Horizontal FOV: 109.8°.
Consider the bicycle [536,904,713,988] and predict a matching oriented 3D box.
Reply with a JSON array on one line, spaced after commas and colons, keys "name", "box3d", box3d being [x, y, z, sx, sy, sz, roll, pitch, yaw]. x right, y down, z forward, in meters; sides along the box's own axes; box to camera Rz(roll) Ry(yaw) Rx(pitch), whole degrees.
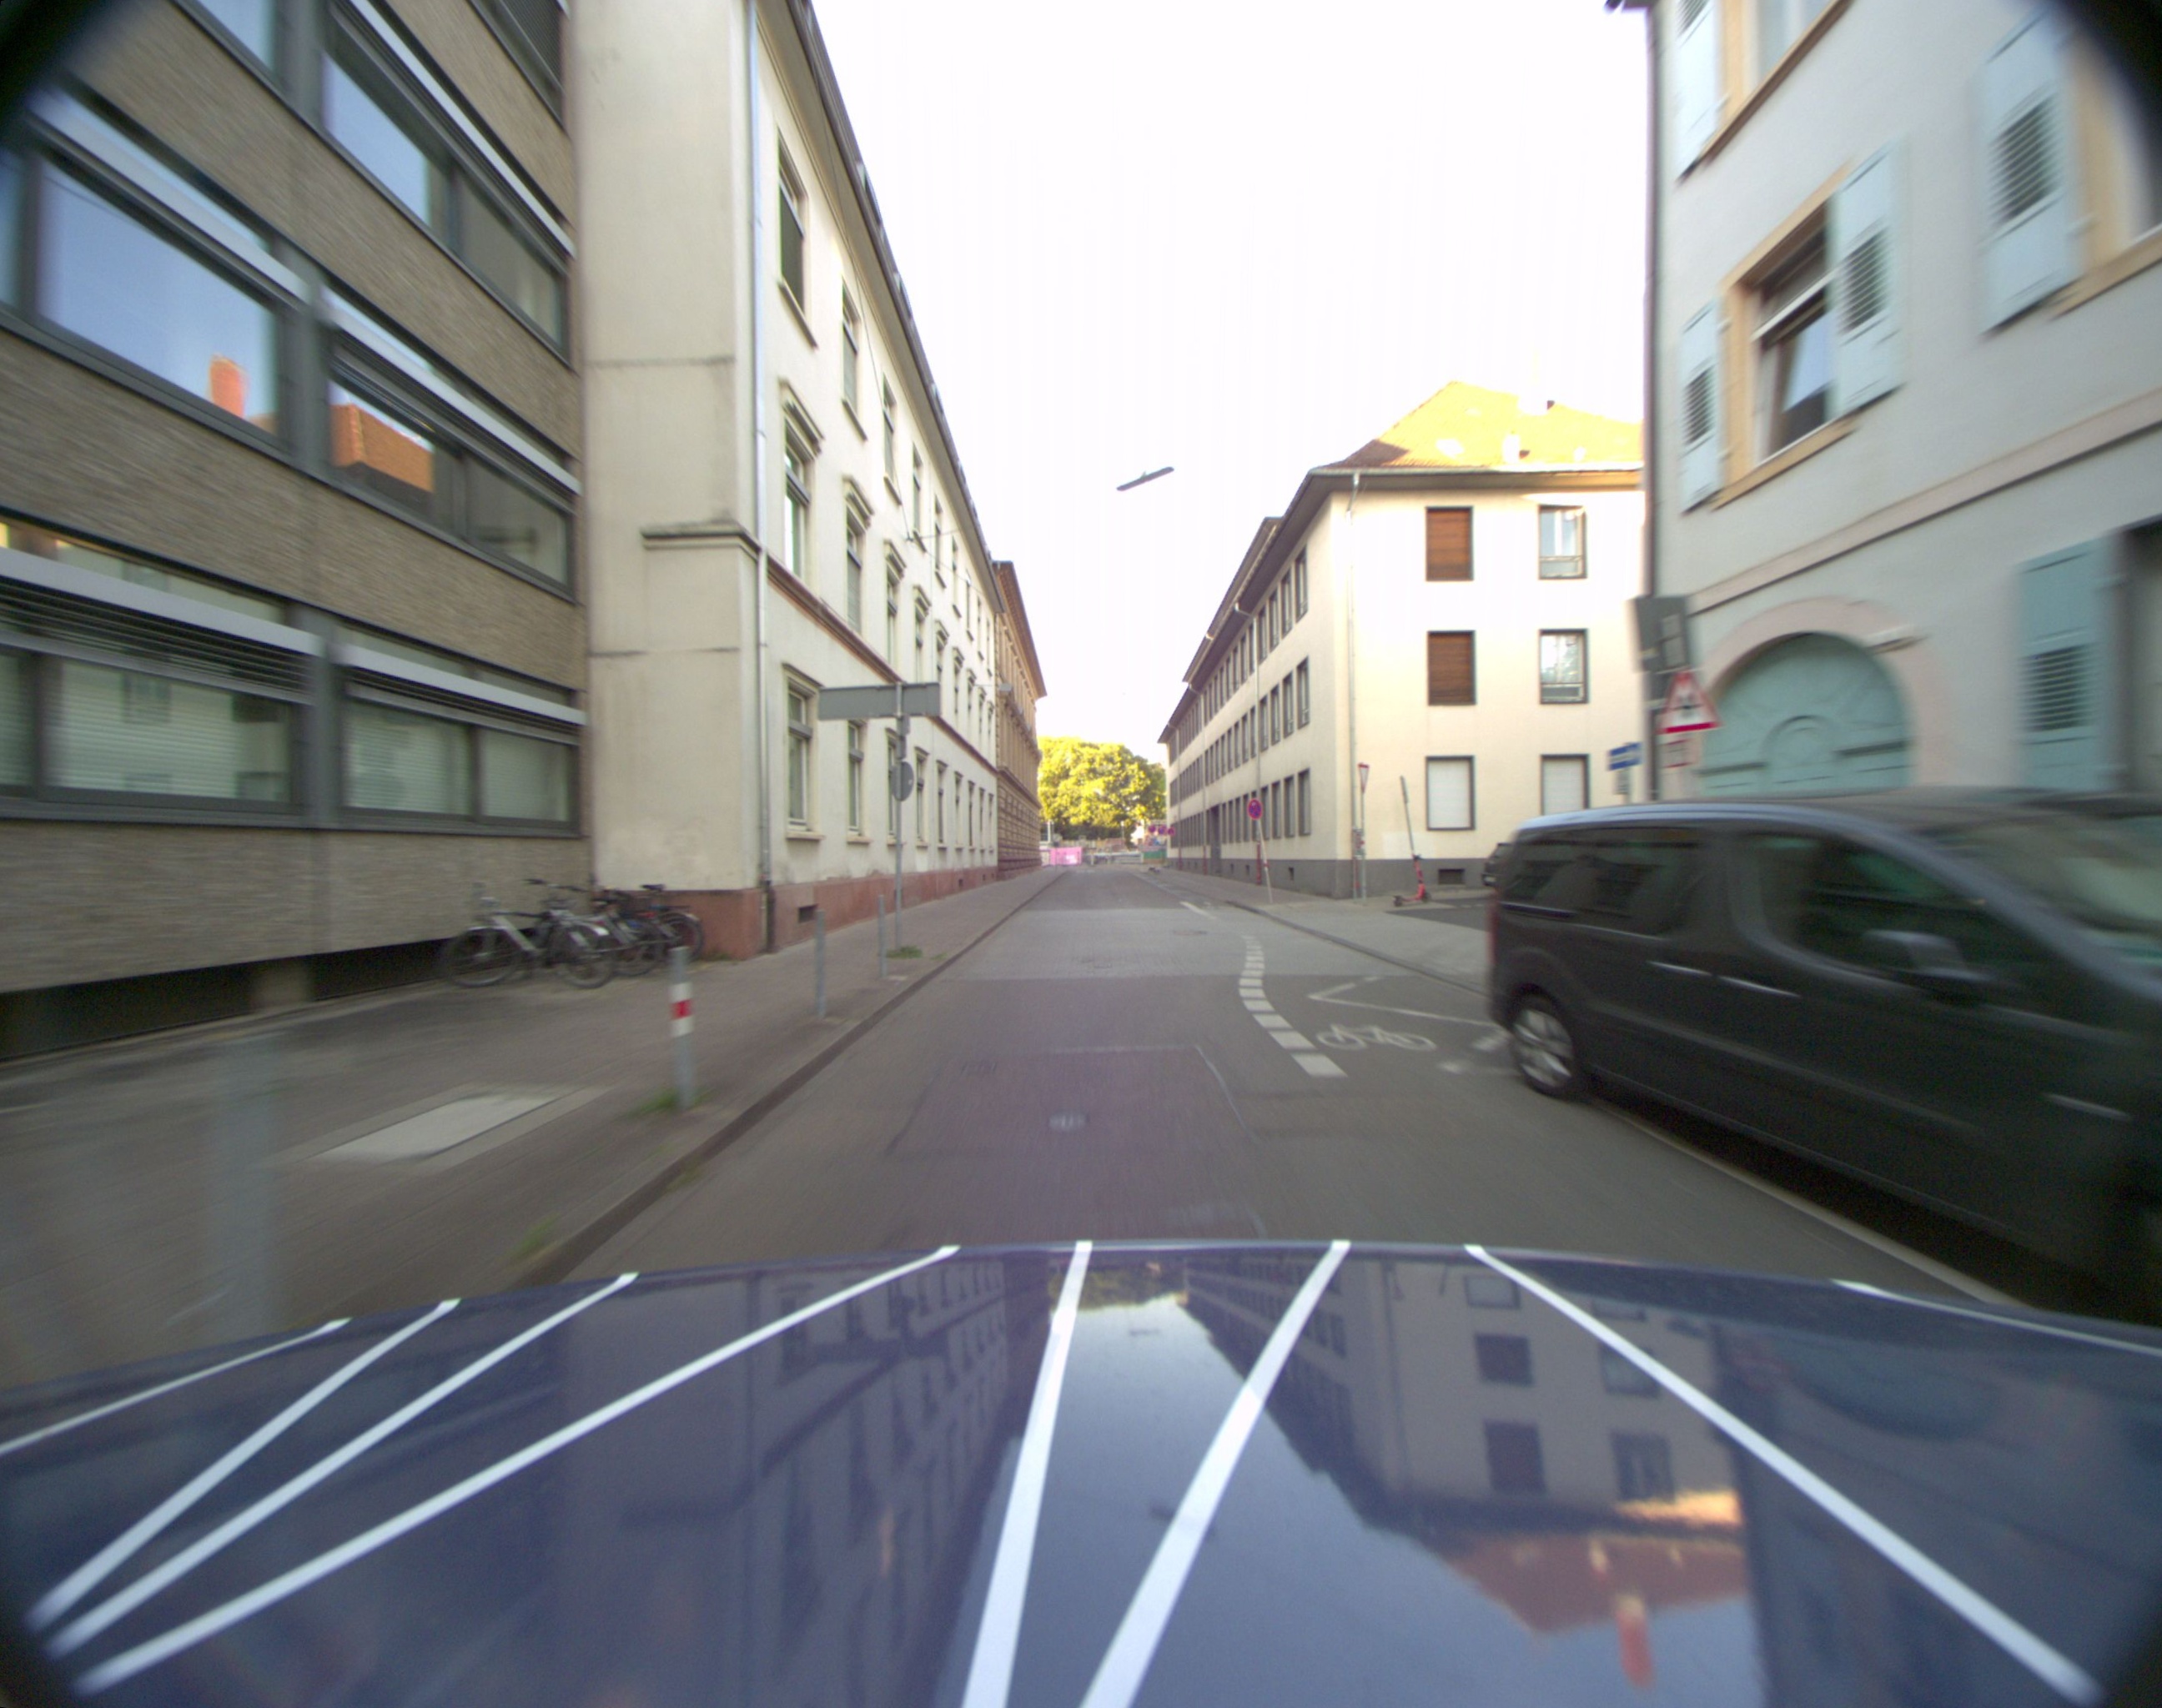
[{"name": "bicycle", "box3d": [-5.628, 1.125, 9.435, 1.801, 0.917, 0.516, -1, 1, -7]}]

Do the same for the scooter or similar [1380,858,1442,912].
[{"name": "scooter or similar", "box3d": [7.967, 0.730, 18.319, 1.367, 1.194, 0.532, -4, 2, -23]}]

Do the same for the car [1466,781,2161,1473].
[{"name": "car", "box3d": [3.692, 0.684, 3.049, 1.882, 1.800, 4.449, -2, 0, -2]}]

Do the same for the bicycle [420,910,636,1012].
[{"name": "bicycle", "box3d": [-5.670, 1.087, 7.863, 1.744, 0.917, 0.538, -1, 1, -6]}]

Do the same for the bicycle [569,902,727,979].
[{"name": "bicycle", "box3d": [-5.677, 1.123, 10.006, 1.800, 0.917, 0.396, -1, 1, -3]}]

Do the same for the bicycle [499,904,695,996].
[{"name": "bicycle", "box3d": [-5.476, 1.078, 8.676, 1.801, 0.917, 0.538, -1, 1, -7]}]
